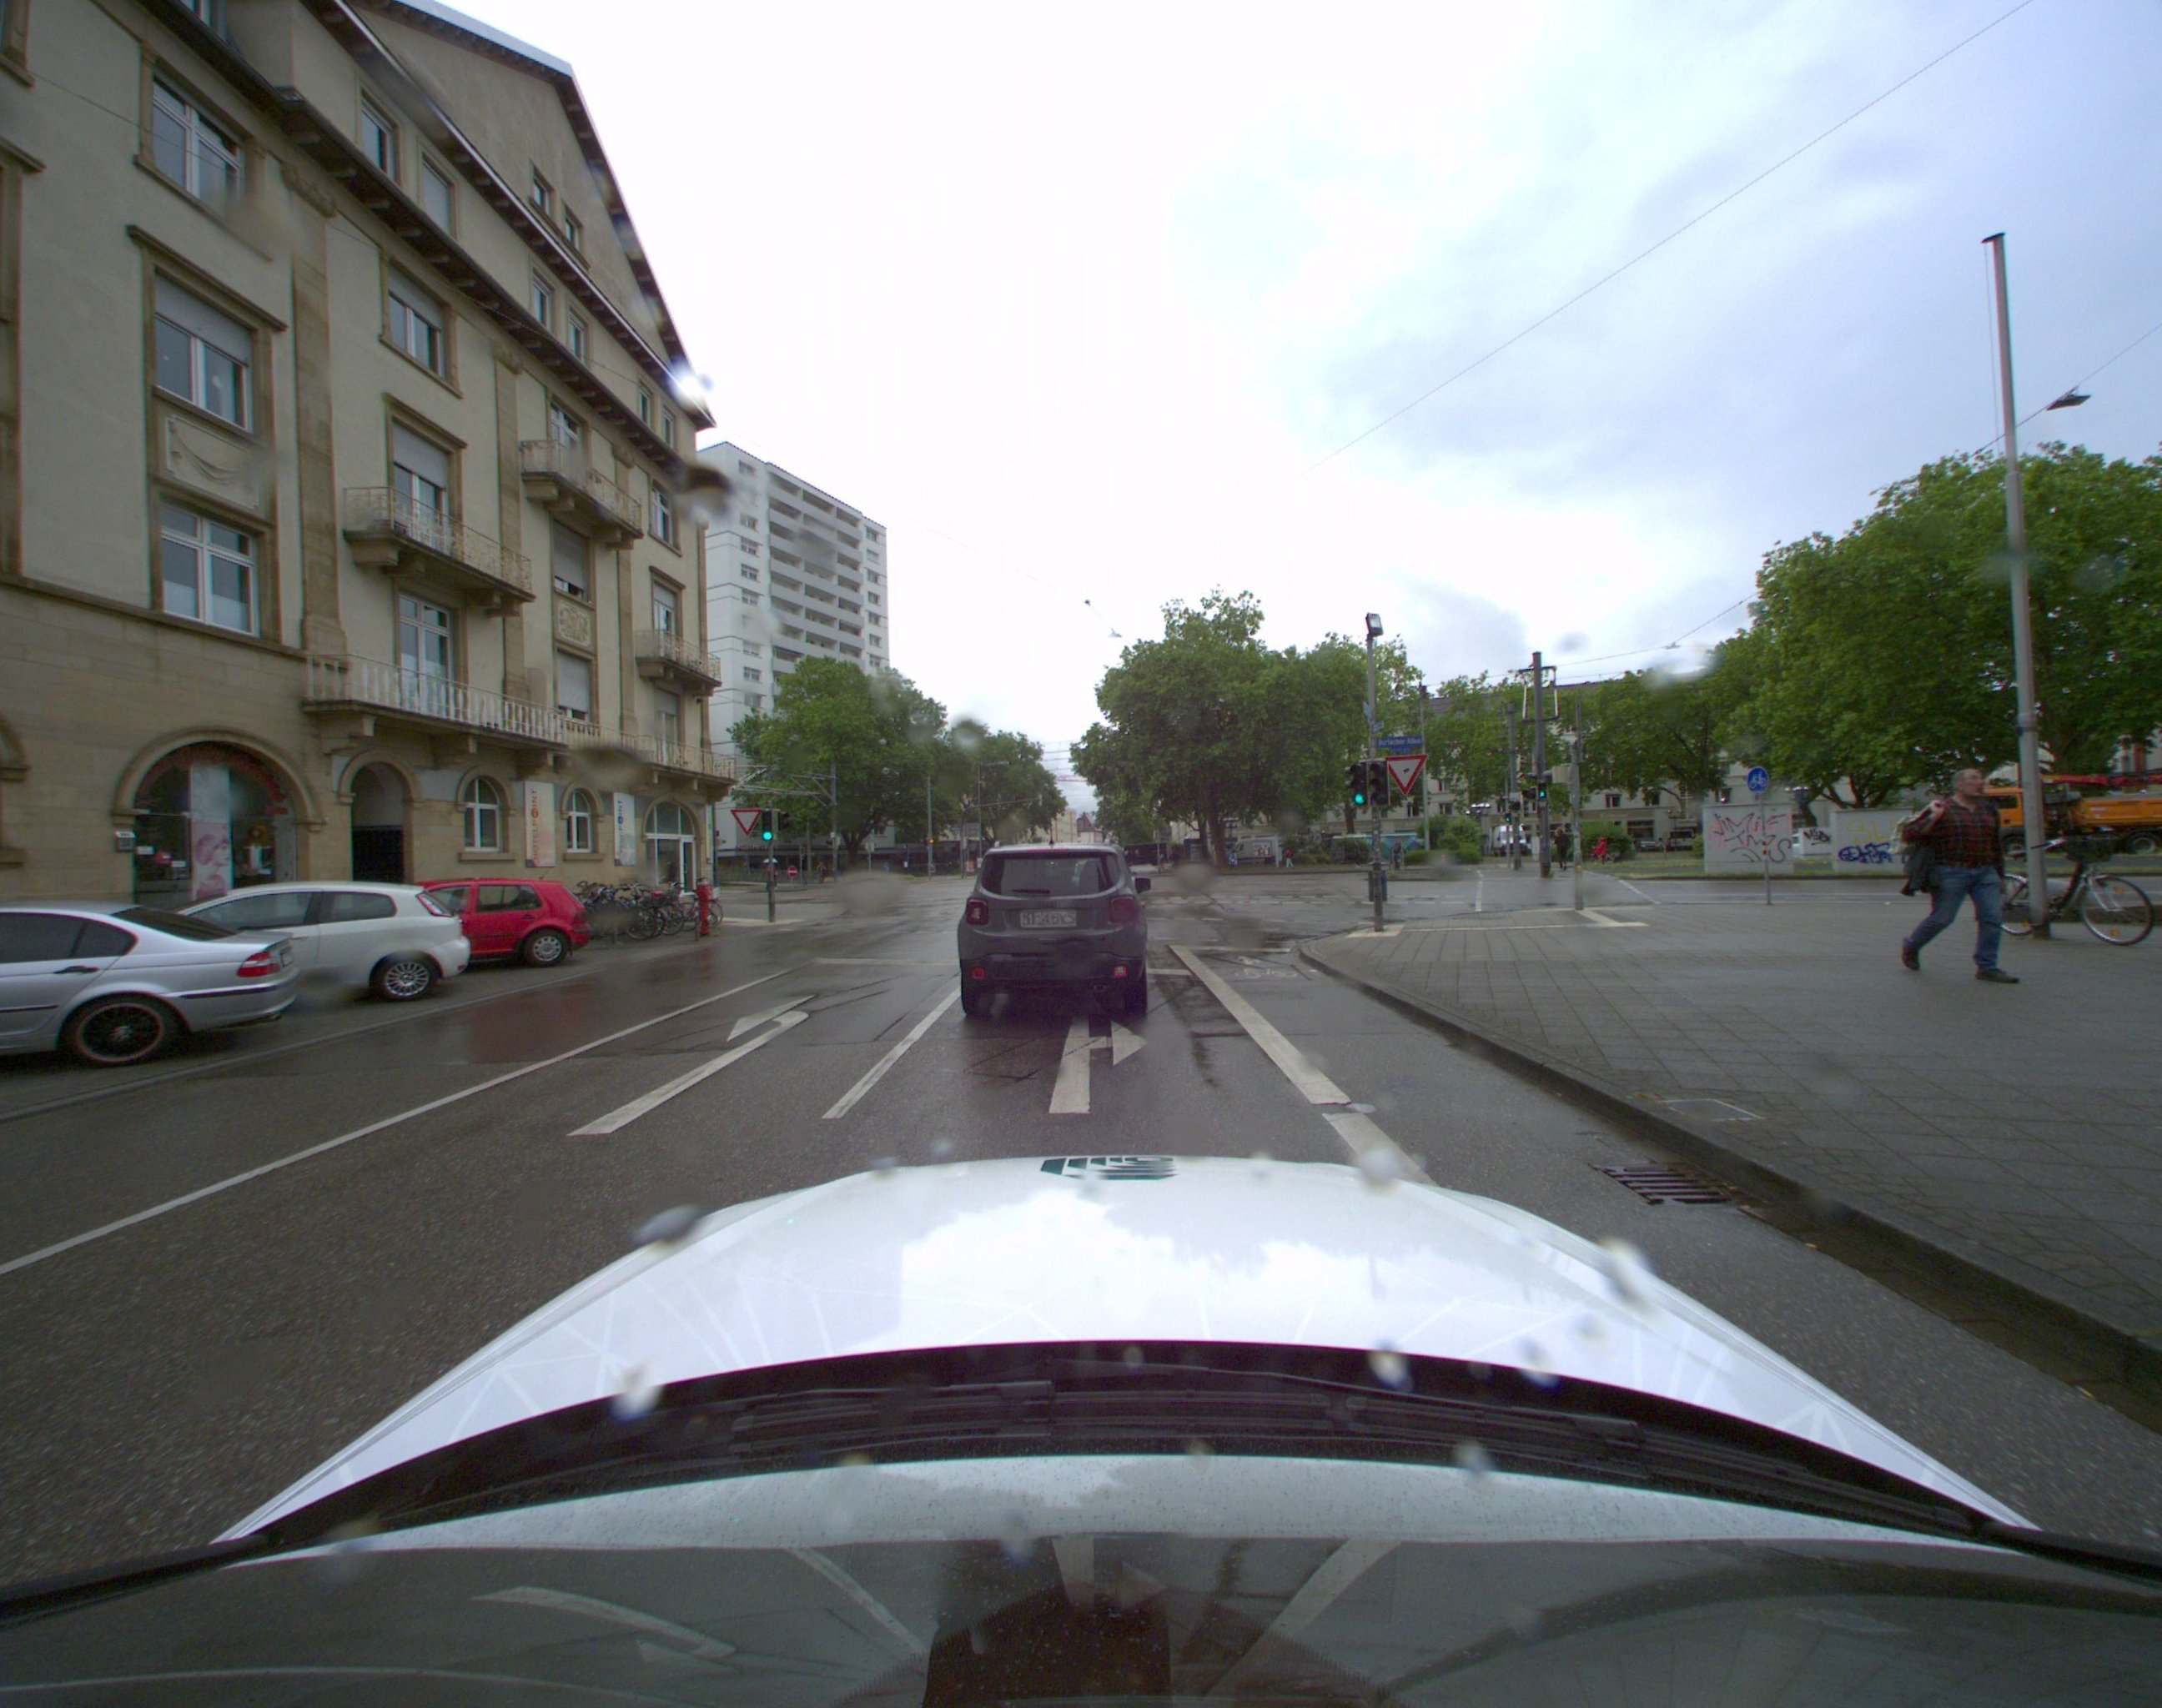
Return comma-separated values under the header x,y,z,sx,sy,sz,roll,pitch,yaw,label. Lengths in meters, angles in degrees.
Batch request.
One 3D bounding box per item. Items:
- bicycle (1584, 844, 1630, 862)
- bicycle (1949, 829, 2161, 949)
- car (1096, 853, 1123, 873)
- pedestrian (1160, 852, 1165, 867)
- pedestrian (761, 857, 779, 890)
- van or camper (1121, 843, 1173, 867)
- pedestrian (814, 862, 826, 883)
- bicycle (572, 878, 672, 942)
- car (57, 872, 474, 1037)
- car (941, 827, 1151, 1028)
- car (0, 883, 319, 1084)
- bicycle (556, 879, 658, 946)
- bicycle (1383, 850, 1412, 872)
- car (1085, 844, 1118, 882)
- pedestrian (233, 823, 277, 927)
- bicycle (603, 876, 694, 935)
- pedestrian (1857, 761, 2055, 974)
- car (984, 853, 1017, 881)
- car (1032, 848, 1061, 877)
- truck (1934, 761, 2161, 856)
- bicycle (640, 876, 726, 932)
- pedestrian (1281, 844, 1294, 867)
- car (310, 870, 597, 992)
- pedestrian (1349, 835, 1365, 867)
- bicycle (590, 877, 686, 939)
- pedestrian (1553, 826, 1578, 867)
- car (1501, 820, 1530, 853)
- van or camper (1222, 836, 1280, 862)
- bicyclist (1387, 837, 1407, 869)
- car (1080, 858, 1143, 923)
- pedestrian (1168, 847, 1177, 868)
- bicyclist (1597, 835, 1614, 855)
x,y,z,sx,sy,sz,roll,pitch,yaw,label
28.016,-0.047,43.401,1.948,0.911,0.563,-2,0,26,bicycle
10.700,0.332,8.937,0.327,1.154,2.079,-2,0,8,bicycle
1.885,0.583,55.219,1.588,1.252,3.572,-2,0,-2,car
9.132,0.630,90.863,0.456,1.703,0.424,-2,0,3,pedestrian
-18.163,1.135,47.529,0.614,1.826,0.697,-3,0,15,pedestrian
8.834,0.109,109.134,6.464,2.912,2.510,-3,0,28,van or camper
-19.355,1.385,60.322,0.438,1.530,0.647,-2,0,28,pedestrian
-9.817,1.189,17.435,1.804,1.266,0.498,-3,0,0,bicycle
-9.712,1.082,10.138,3.419,1.558,1.686,-2,0,-37,car
-0.265,0.645,9.114,1.768,1.687,3.849,-3,0,1,car
-9.451,1.142,7.444,3.419,1.558,1.686,-2,0,-37,car
-9.820,1.197,16.887,1.757,1.266,0.522,-3,0,0,bicycle
16.821,0.367,43.252,0.685,1.021,2.675,-3,0,37,bicycle
1.185,0.478,46.507,1.763,2.013,4.002,-2,0,2,car
-14.778,0.376,14.572,0.365,1.822,0.347,-3,-1,0,pedestrian
-10.153,1.196,19.159,1.757,1.266,0.608,-3,0,0,bicycle
7.782,0.118,7.307,0.779,1.759,0.950,-3,0,17,pedestrian
-5.186,0.822,52.883,1.809,1.670,3.917,-2,0,-2,car
-2.195,0.501,52.392,1.717,1.739,3.727,-2,0,-2,car
41.334,-1.828,33.429,8.333,3.524,2.391,-2,0,25,truck
-9.757,1.224,19.994,1.757,1.266,0.608,-3,0,0,bicycle
13.827,0.115,54.538,0.667,1.554,0.766,-2,-2,30,pedestrian
-9.881,1.113,13.086,3.419,1.558,1.686,-2,0,-37,car
17.901,-0.216,52.867,0.798,2.013,0.593,-3,0,29,pedestrian
-9.815,1.197,18.063,1.804,1.266,0.498,-3,0,0,bicycle
20.422,-0.317,34.315,0.775,1.645,0.659,-3,0,26,pedestrian
35.822,-1.401,67.221,1.889,2.555,4.815,-2,0,26,car
16.402,-0.521,78.841,5.233,2.315,2.093,-2,0,5,van or camper
16.809,-0.057,43.271,0.680,1.617,0.889,-3,0,37,bicyclist
0.738,0.831,19.917,1.358,1.376,3.314,-2,0,2,car
8.666,0.312,77.109,0.646,2.013,0.484,-2,0,14,pedestrian
27.965,-0.460,43.418,0.673,1.026,0.563,-2,0,26,bicyclist
